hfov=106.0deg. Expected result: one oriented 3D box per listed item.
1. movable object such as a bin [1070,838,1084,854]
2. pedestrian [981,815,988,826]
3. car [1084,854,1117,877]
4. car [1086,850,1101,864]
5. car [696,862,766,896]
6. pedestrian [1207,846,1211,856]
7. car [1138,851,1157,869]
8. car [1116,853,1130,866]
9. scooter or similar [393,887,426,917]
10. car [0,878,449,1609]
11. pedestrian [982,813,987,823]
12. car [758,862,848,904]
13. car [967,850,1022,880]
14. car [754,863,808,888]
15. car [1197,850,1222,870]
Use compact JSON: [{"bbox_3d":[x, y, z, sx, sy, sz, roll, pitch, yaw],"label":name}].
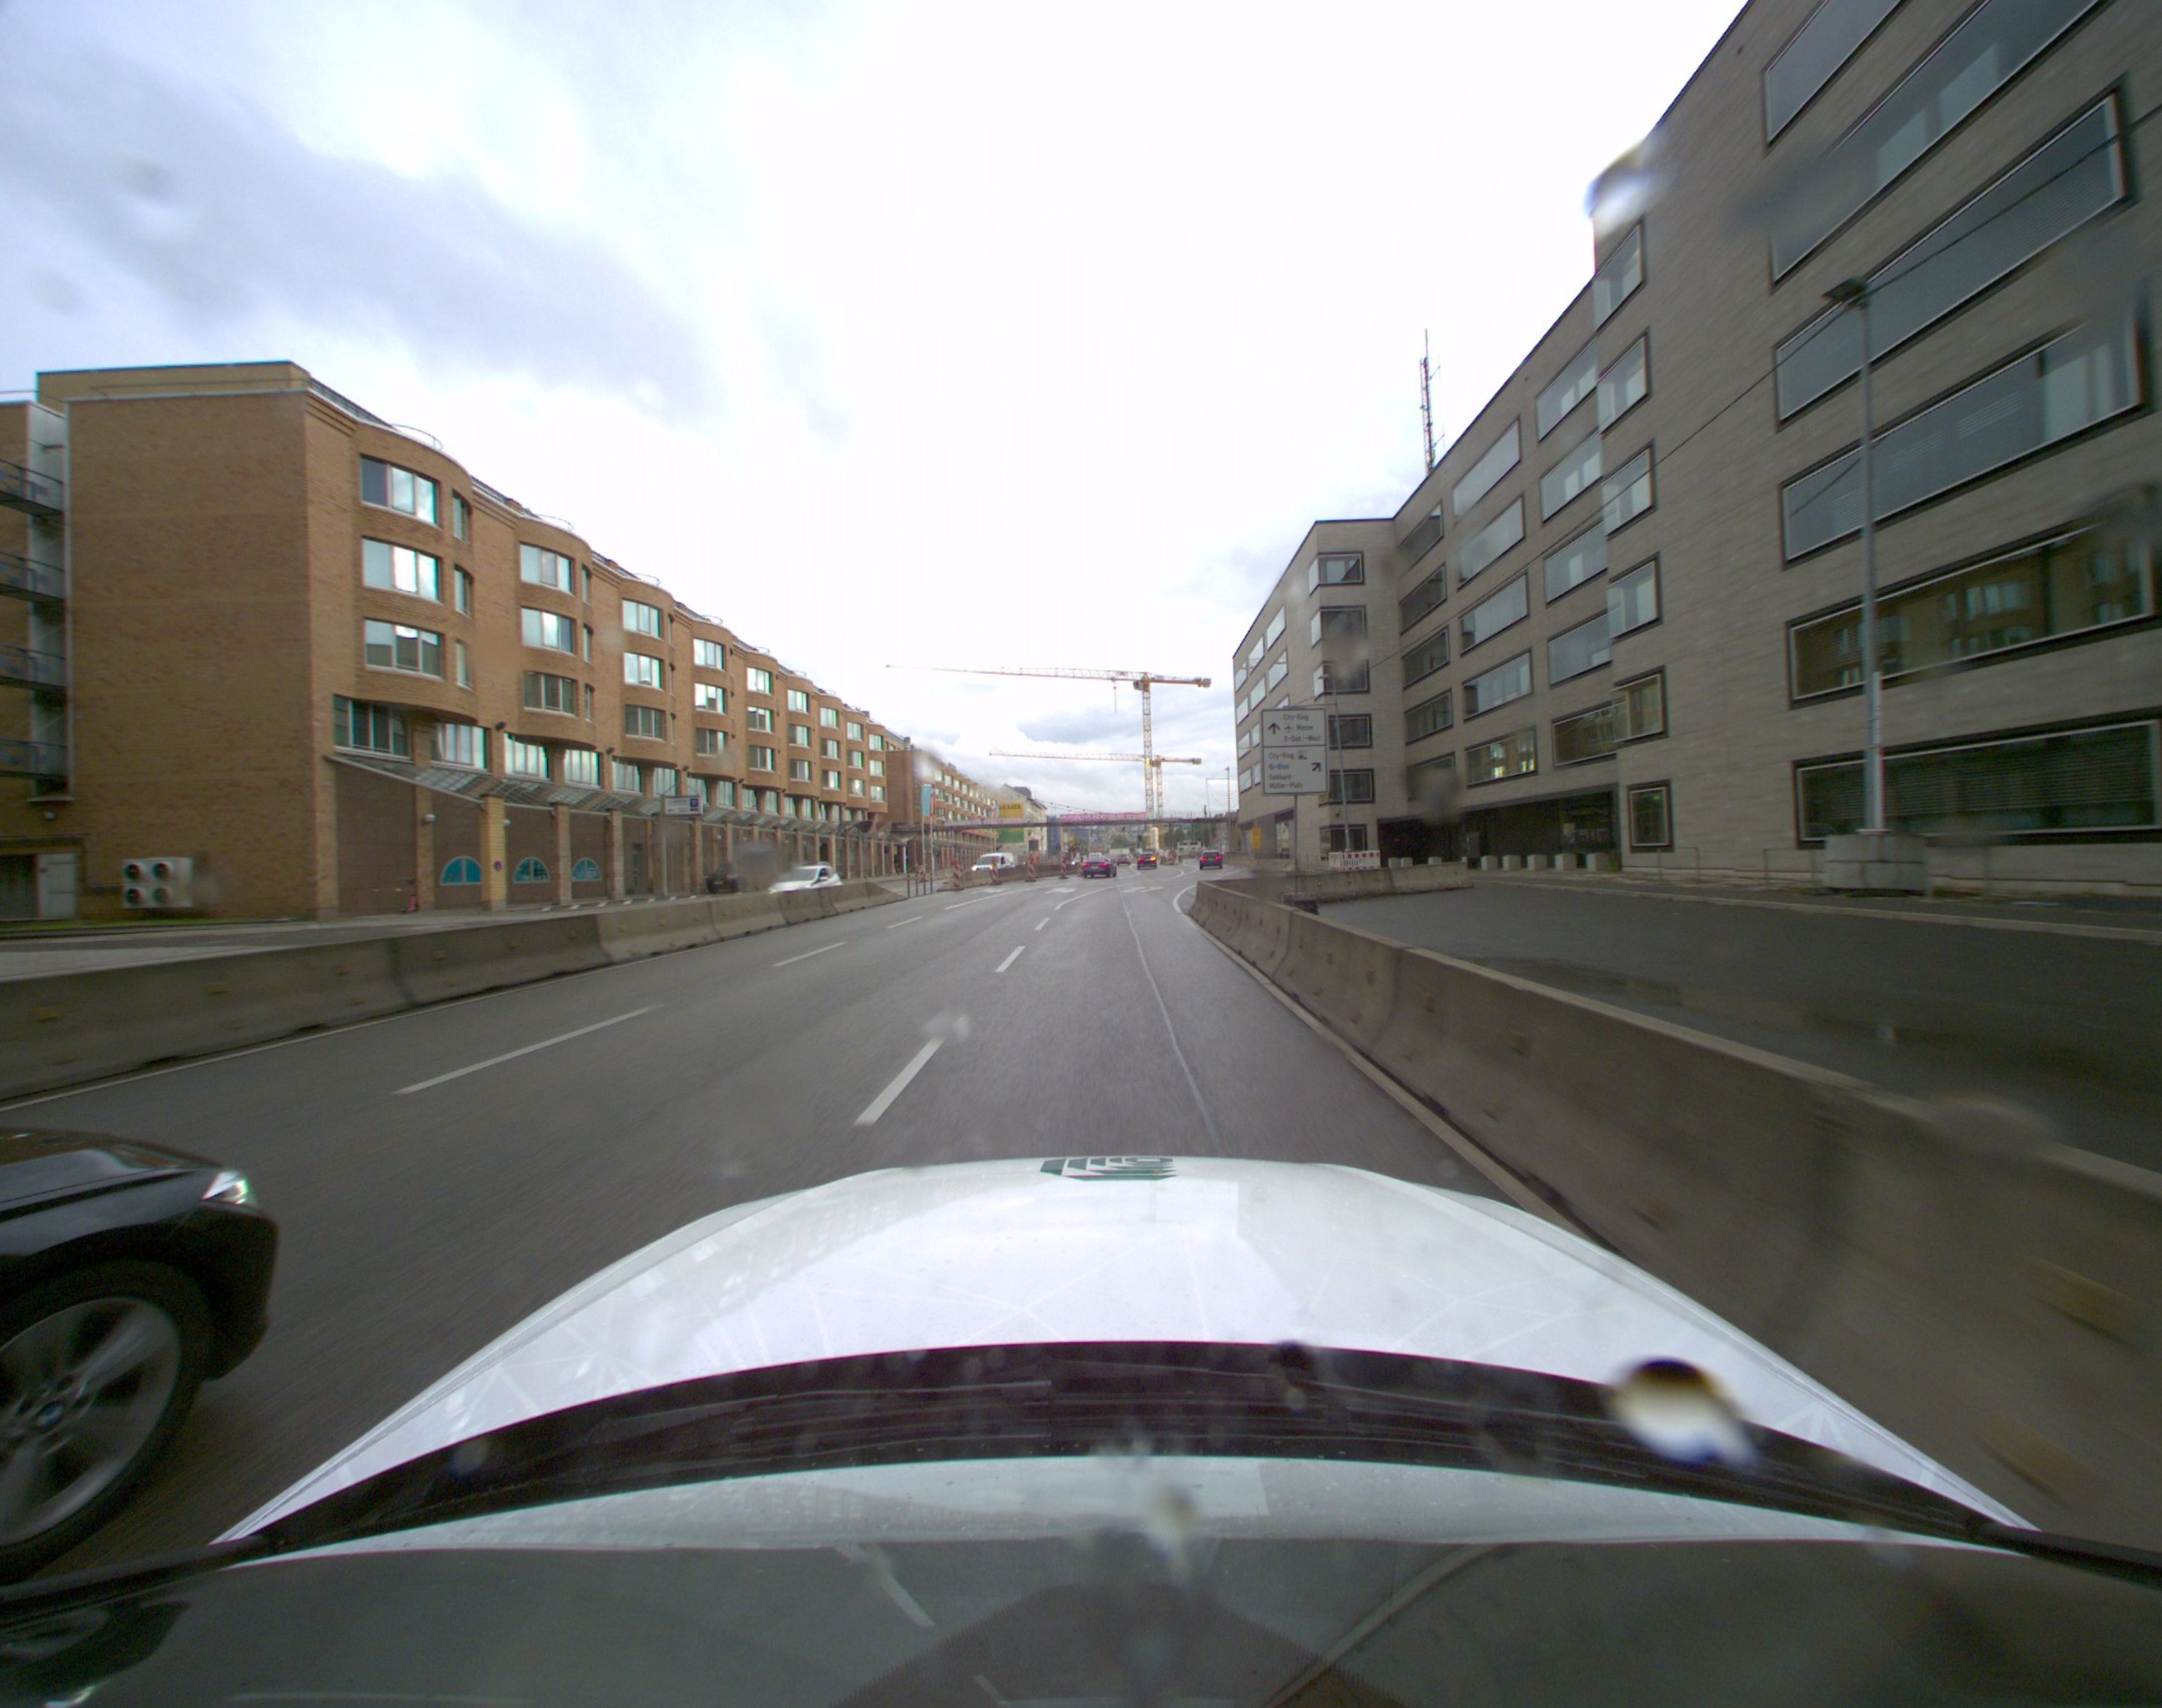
[{"bbox_3d":[-0.617,-1.259,127.786,2.020,2.277,4.292,-6,0,0],"label":"movable object such as a bin"},{"bbox_3d":[-12.606,-4.401,106.516,0.617,1.452,0.619,-3,0,6],"label":"pedestrian"},{"bbox_3d":[1.357,0.757,55.551,1.853,1.443,4.664,-2,0,6],"label":"car"},{"bbox_3d":[1.826,0.423,115.877,1.986,1.885,4.872,-2,0,2],"label":"car"},{"bbox_3d":[-21.198,1.469,49.530,1.987,1.886,5.013,-2,0,0],"label":"car"},{"bbox_3d":[27.167,-0.645,173.183,0.622,2.013,0.666,-2,0,15],"label":"pedestrian"},{"bbox_3d":[6.669,0.552,81.346,1.854,1.660,4.663,-2,0,5],"label":"car"},{"bbox_3d":[5.937,0.802,115.468,1.856,1.765,4.658,-2,0,2],"label":"car"},{"bbox_3d":[-25.222,1.790,30.583,0.448,1.063,1.041,-2,0,-9],"label":"scooter or similar"},{"bbox_3d":[-3.123,0.837,0.461,1.761,1.443,4.657,-2,0,1],"label":"car"},{"bbox_3d":[-12.599,-4.706,106.723,0.473,1.194,0.485,-3,0,6],"label":"pedestrian"},{"bbox_3d":[-9.292,0.935,27.505,1.606,1.231,3.728,-2,0,1],"label":"car"},{"bbox_3d":[-5.620,0.681,53.445,1.872,1.783,4.896,-2,0,15],"label":"car"},{"bbox_3d":[-20.878,1.460,56.892,1.987,1.594,4.539,-2,0,0],"label":"car"},{"bbox_3d":[10.286,0.454,65.179,1.852,1.433,4.668,-2,0,9],"label":"car"}]
